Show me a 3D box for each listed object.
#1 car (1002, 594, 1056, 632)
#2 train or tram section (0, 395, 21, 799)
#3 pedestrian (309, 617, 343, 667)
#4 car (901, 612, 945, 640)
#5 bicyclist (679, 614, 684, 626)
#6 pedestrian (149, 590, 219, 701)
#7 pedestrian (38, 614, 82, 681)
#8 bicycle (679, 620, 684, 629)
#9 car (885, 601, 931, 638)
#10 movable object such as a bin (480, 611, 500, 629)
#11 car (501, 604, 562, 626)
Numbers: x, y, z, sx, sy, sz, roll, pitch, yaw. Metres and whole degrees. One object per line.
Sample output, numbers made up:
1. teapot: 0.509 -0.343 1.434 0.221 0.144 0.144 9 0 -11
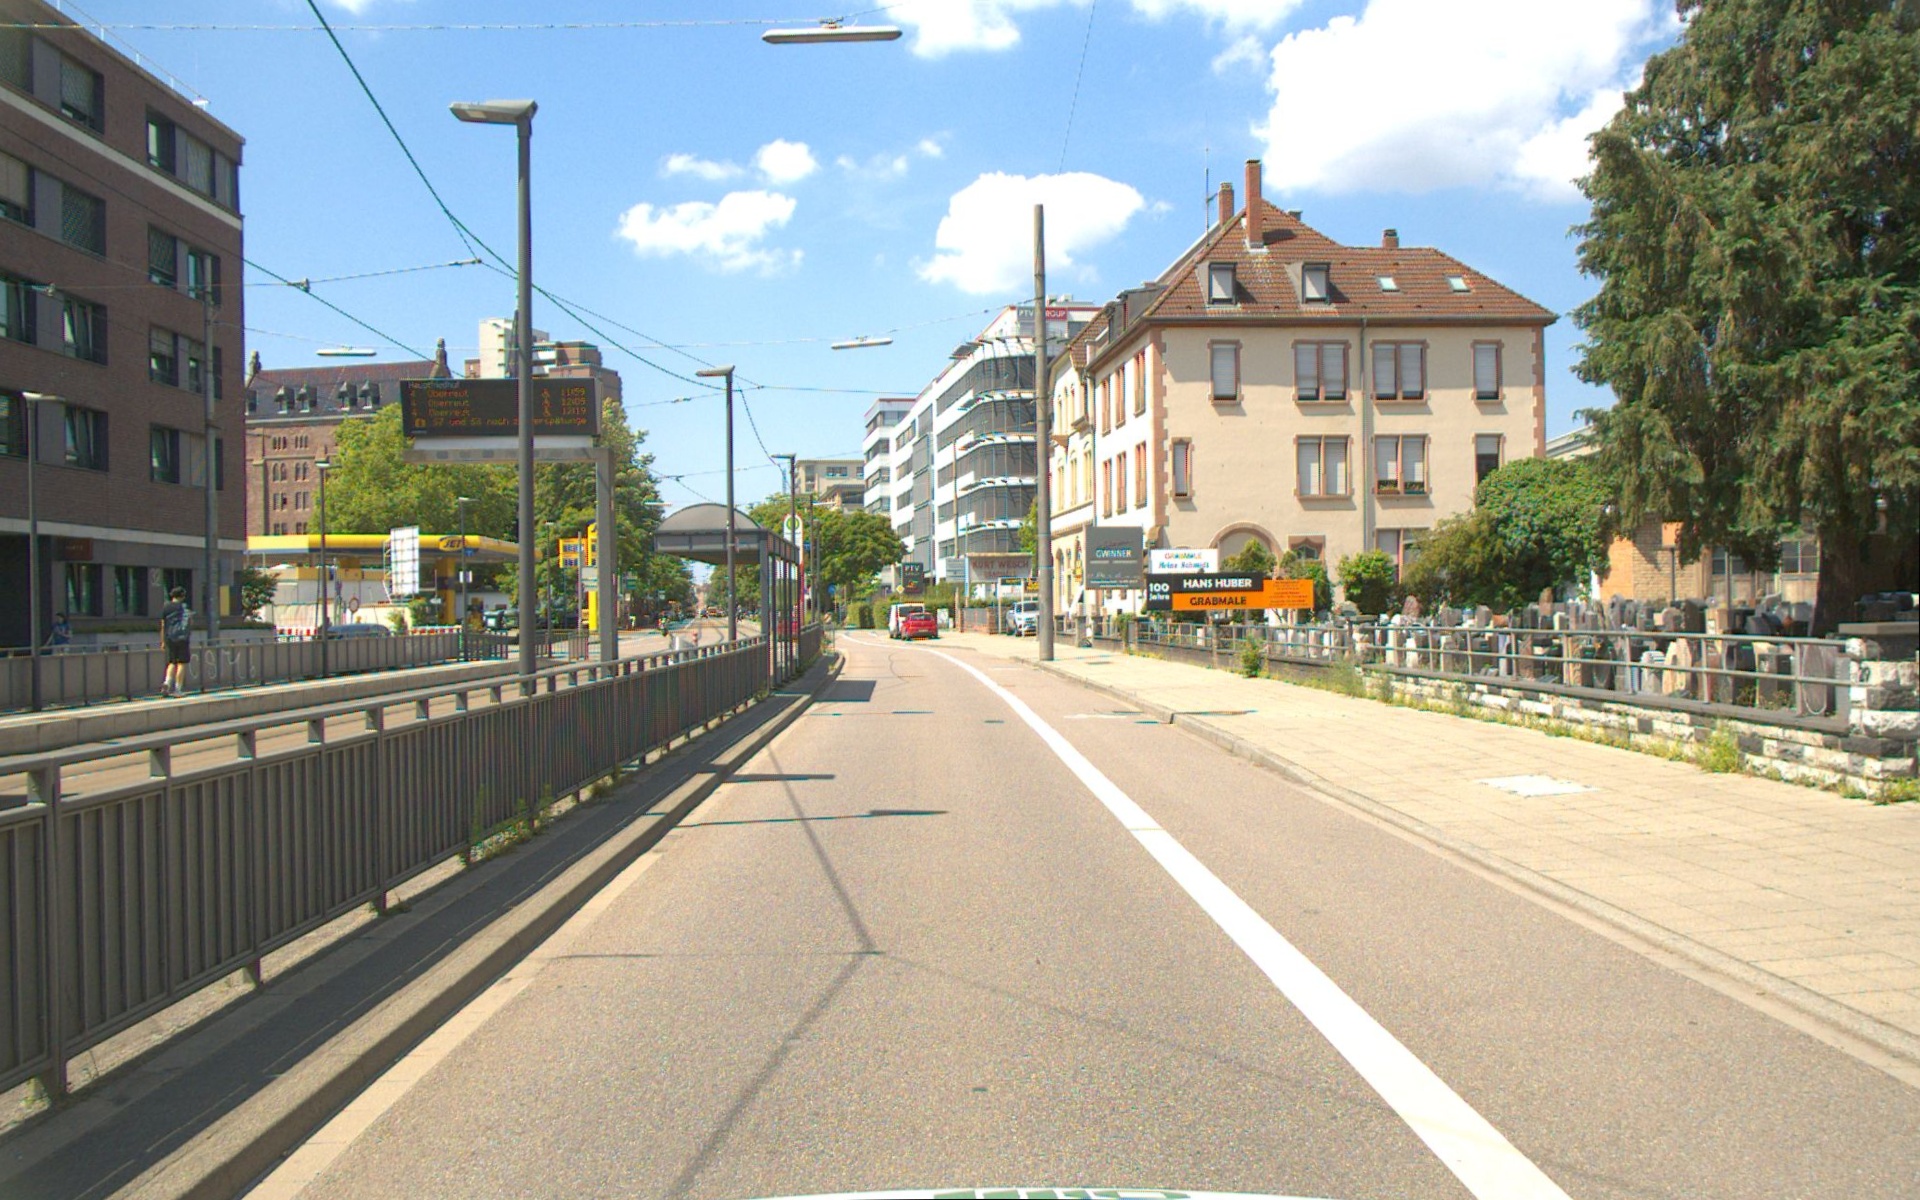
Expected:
1. car: 3.297 0.630 79.940 1.842 1.652 4.633 -4 0 -6
2. train or tram section: -10.035 -0.077 6.917 3.169 3.630 16.344 -1 -1 -1
3. pedestrian: -21.151 1.398 55.188 0.745 1.624 0.998 3 -1 -6
4. car: -2.028 1.386 89.690 1.956 1.467 4.010 -1 0 -7
5. bicyclist: -39.214 2.855 232.830 0.630 1.709 0.813 -1 -1 -10
6. pedestrian: -12.938 0.748 27.598 0.671 1.791 1.033 -2 0 -2
7. pedestrian: -22.456 1.178 41.285 0.671 1.624 0.761 -2 -1 -2
8. bicycle: -39.216 3.443 232.993 0.688 1.225 2.235 -3 0 -9
9. car: -3.070 1.121 96.221 1.957 2.026 5.503 -3 0 -9
10. movable object such as a bin: -36.330 1.576 127.789 1.316 1.378 0.758 -1 -1 3
11. car: -33.045 1.148 127.590 1.959 1.618 4.318 -2 -1 35
